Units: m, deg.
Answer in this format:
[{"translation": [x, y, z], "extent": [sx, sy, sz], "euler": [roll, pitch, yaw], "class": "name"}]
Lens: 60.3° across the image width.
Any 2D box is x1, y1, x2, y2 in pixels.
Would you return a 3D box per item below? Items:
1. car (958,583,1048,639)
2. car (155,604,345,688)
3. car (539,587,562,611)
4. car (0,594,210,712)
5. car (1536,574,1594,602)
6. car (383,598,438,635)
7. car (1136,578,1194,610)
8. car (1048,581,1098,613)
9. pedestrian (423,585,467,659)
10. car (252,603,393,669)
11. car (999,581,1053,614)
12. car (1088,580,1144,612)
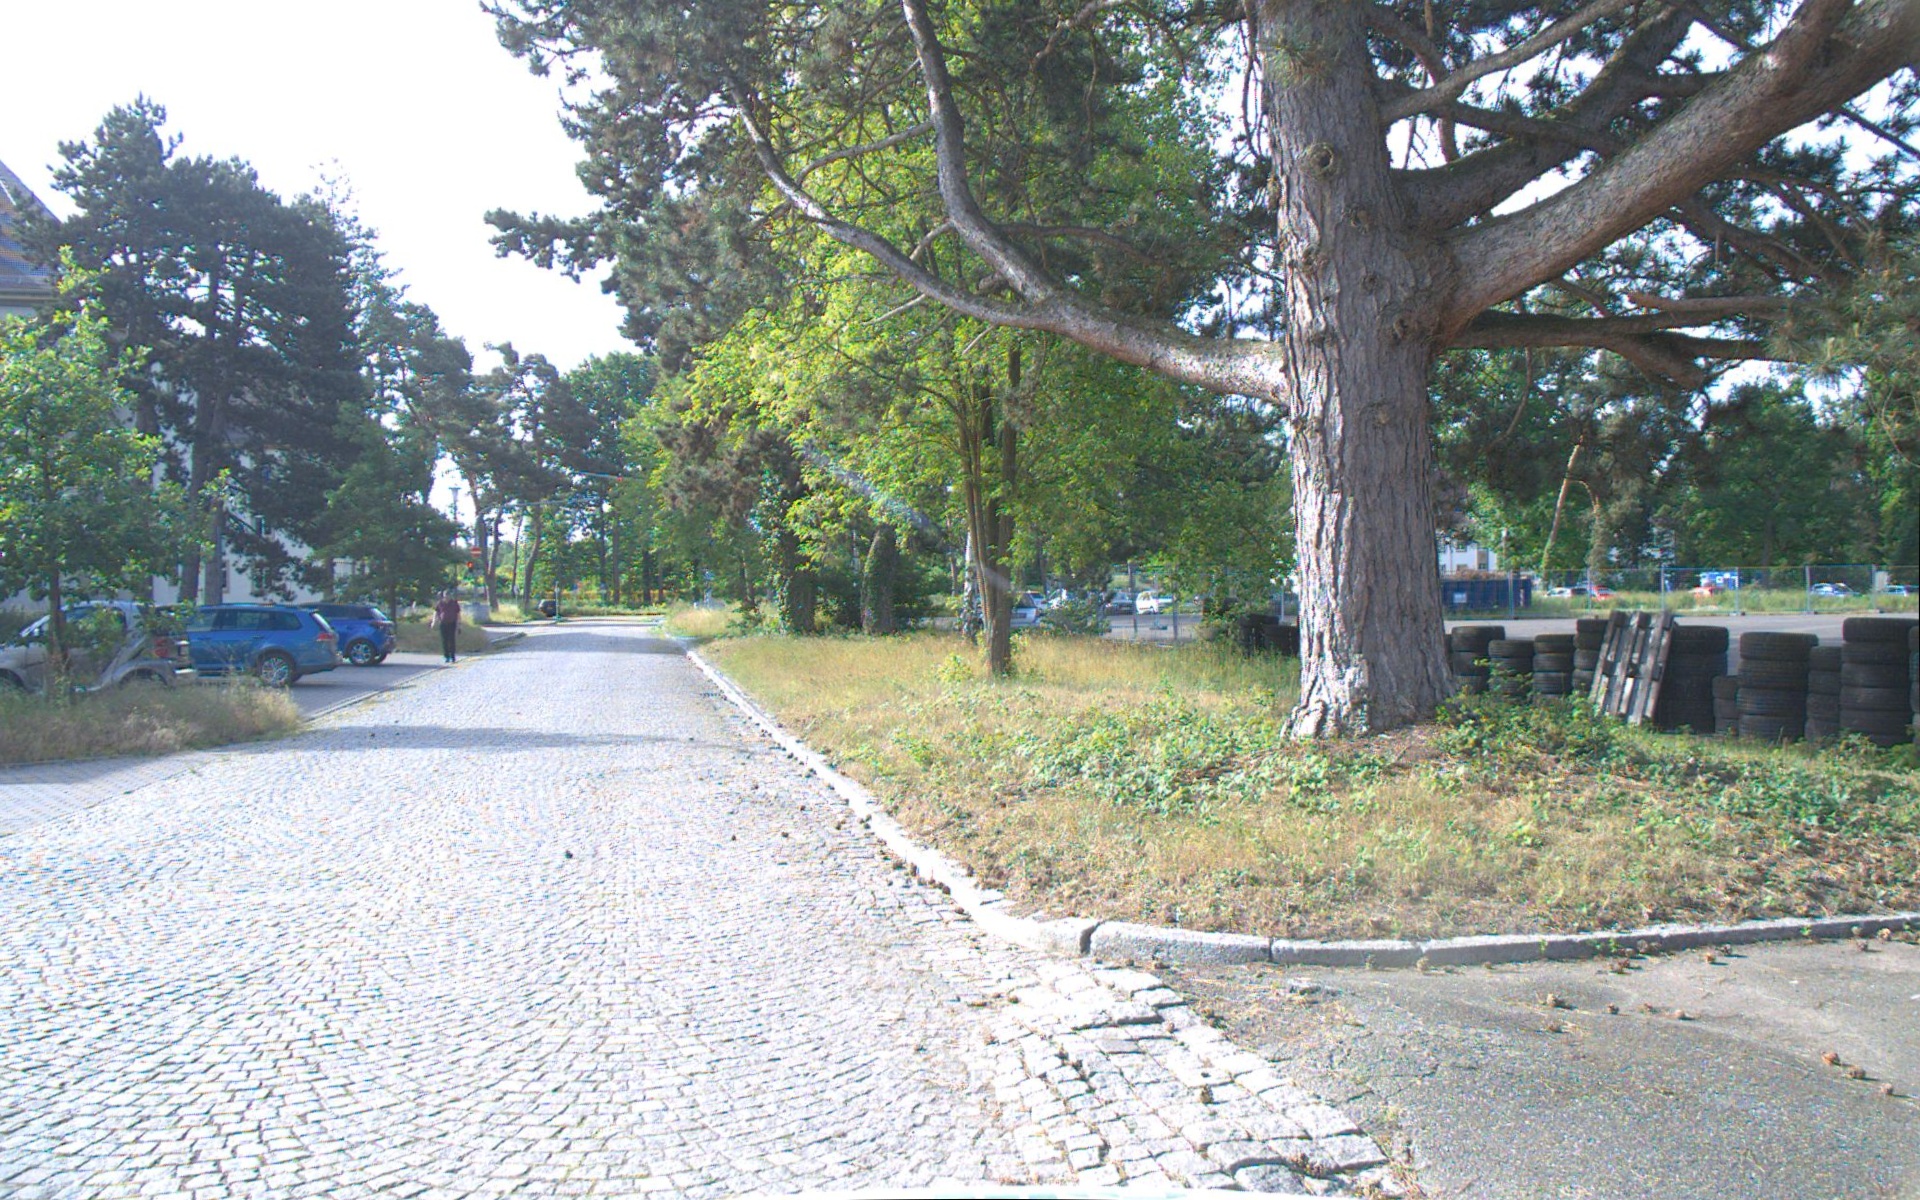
[{"translation": [1.202, 0.298, 48.558], "extent": [1.852, 1.568, 3.990], "euler": [-1, 0, -11], "class": "car"}, {"translation": [-13.123, 0.849, 30.721], "extent": [3.034, 1.483, 1.485], "euler": [1, 0, -17], "class": "car"}, {"translation": [-35.597, -0.124, 143.779], "extent": [1.667, 2.049, 3.989], "euler": [-1, 0, -11], "class": "car"}, {"translation": [-12.293, 0.729, 23.433], "extent": [2.708, 1.576, 1.423], "euler": [-1, 0, -8], "class": "car"}, {"translation": [39.041, -0.769, 106.817], "extent": [1.955, 1.780, 3.994], "euler": [-1, 0, -7], "class": "car"}, {"translation": [-25.678, 0.764, 77.384], "extent": [1.958, 1.646, 3.989], "euler": [-1, 0, -11], "class": "car"}, {"translation": [11.101, -0.338, 89.706], "extent": [1.958, 1.646, 3.989], "euler": [-1, 0, -11], "class": "car"}, {"translation": [5.966, -0.170, 88.003], "extent": [1.787, 1.646, 3.991], "euler": [-1, 0, -9], "class": "car"}, {"translation": [-13.306, 0.562, 42.759], "extent": [0.944, 1.876, 0.948], "euler": [-1, 0, -26], "class": "pedestrian"}, {"translation": [-15.274, 0.843, 39.776], "extent": [3.036, 1.475, 1.484], "euler": [-1, 0, -18], "class": "car"}, {"translation": [3.426, -0.128, 87.196], "extent": [1.958, 1.646, 3.989], "euler": [-1, 0, -11], "class": "car"}, {"translation": [8.343, -0.230, 88.804], "extent": [1.958, 1.646, 3.989], "euler": [-1, 0, -11], "class": "car"}]
